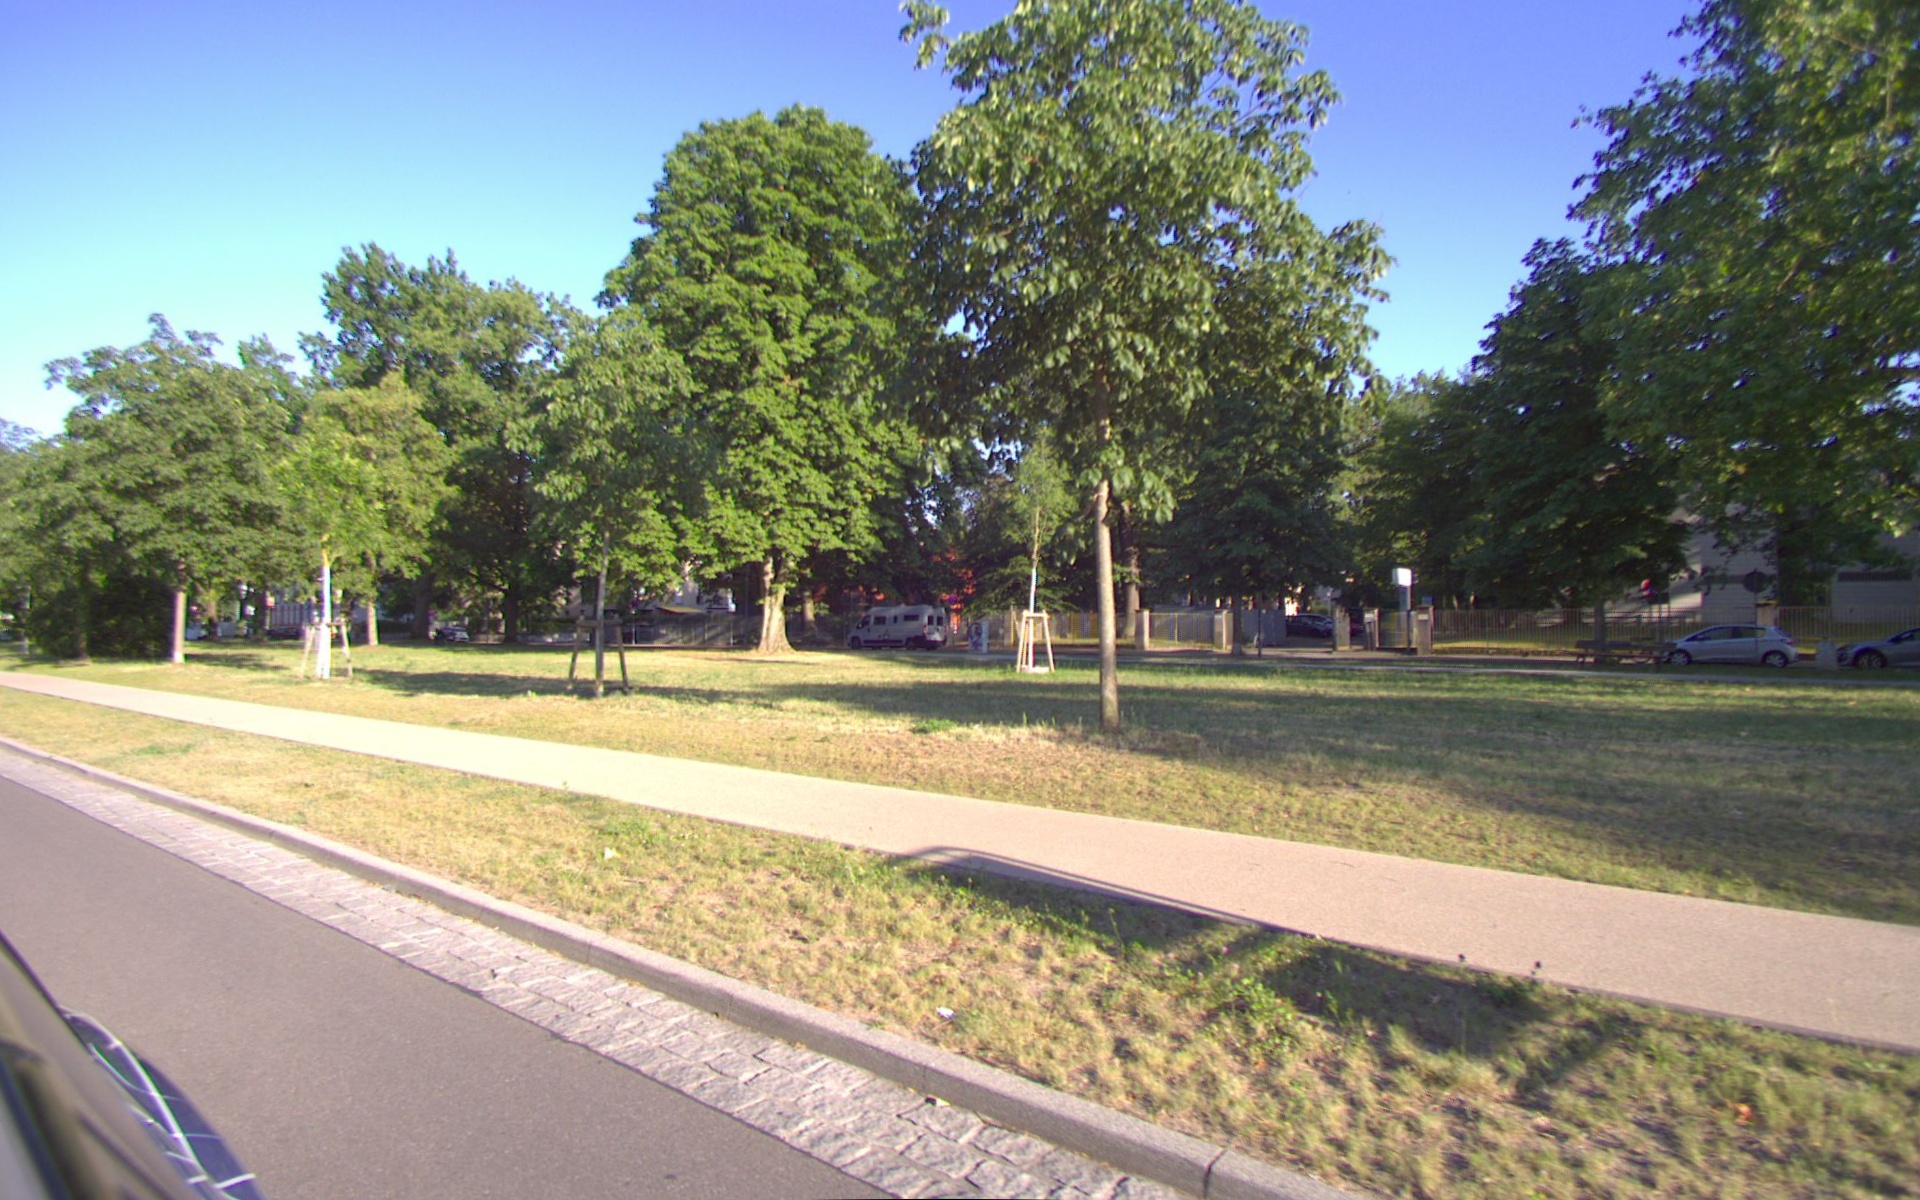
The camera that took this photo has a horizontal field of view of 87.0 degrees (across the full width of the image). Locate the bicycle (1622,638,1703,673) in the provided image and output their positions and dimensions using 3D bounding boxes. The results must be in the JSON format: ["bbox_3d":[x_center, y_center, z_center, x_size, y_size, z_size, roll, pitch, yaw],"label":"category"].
[{"bbox_3d":[24.903,1.944,35.910,2.329,1.184,0.651,-1,-3,36],"label":"bicycle"}]

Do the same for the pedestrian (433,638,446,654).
[{"bbox_3d":[-31.185,2.753,60.587,0.541,0.994,0.611,2,-3,-41],"label":"pedestrian"}]

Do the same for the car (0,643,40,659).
[{"bbox_3d":[-87.752,4.660,93.073,1.823,1.411,4.254,0,-2,16],"label":"car"}]

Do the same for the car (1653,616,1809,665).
[{"bbox_3d":[25.411,1.324,33.457,3.996,1.519,1.974,-1,-3,39],"label":"car"}]

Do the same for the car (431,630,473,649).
[{"bbox_3d":[-44.840,3.480,89.347,3.733,1.630,1.974,-2,-2,39],"label":"car"}]

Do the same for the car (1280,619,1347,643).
[{"bbox_3d":[25.375,2.244,72.681,4.243,1.661,1.611,-1,-3,38],"label":"car"}]

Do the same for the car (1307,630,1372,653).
[{"bbox_3d":[28.112,3.090,74.999,4.243,1.661,1.611,-1,-3,38],"label":"car"}]

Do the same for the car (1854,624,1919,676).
[{"bbox_3d":[29.368,1.485,30.135,3.996,1.519,1.974,-1,-3,39],"label":"car"}]

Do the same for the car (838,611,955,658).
[{"bbox_3d":[-3.597,1.919,56.537,6.308,2.482,2.695,-1,-3,37],"label":"car"}]
